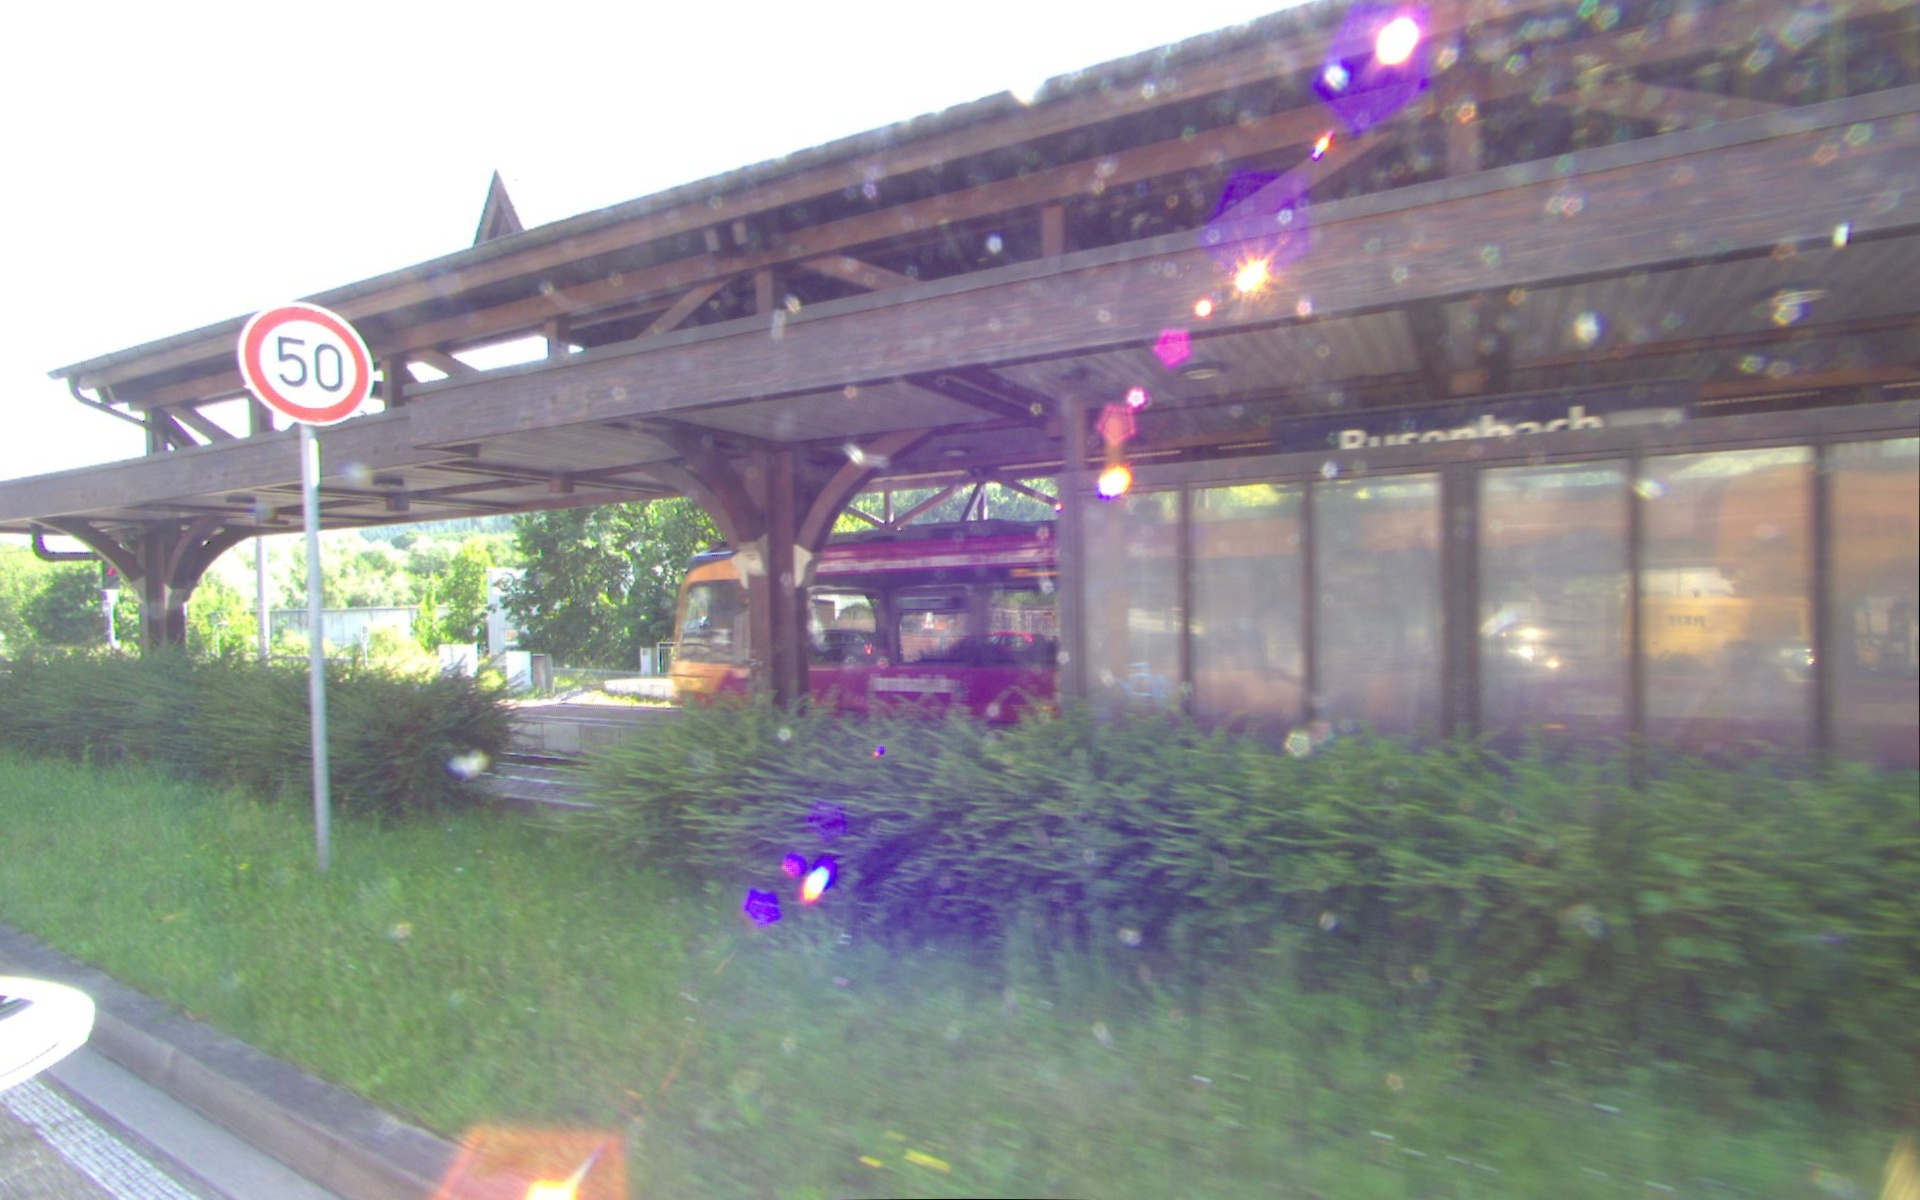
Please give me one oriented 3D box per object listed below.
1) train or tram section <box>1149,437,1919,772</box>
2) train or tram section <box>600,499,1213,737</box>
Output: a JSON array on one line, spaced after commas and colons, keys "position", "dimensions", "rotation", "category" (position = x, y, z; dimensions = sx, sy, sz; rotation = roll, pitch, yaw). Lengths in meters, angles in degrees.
[{"position": [8.509, 0.134, 12.547], "dimensions": [11.868, 3.406, 2.784], "rotation": [-1, -2, 30], "category": "train or tram section"}, {"position": [-1.566, 0.322, 18.583], "dimensions": [11.871, 3.407, 2.752], "rotation": [0, -2, 32], "category": "train or tram section"}]
